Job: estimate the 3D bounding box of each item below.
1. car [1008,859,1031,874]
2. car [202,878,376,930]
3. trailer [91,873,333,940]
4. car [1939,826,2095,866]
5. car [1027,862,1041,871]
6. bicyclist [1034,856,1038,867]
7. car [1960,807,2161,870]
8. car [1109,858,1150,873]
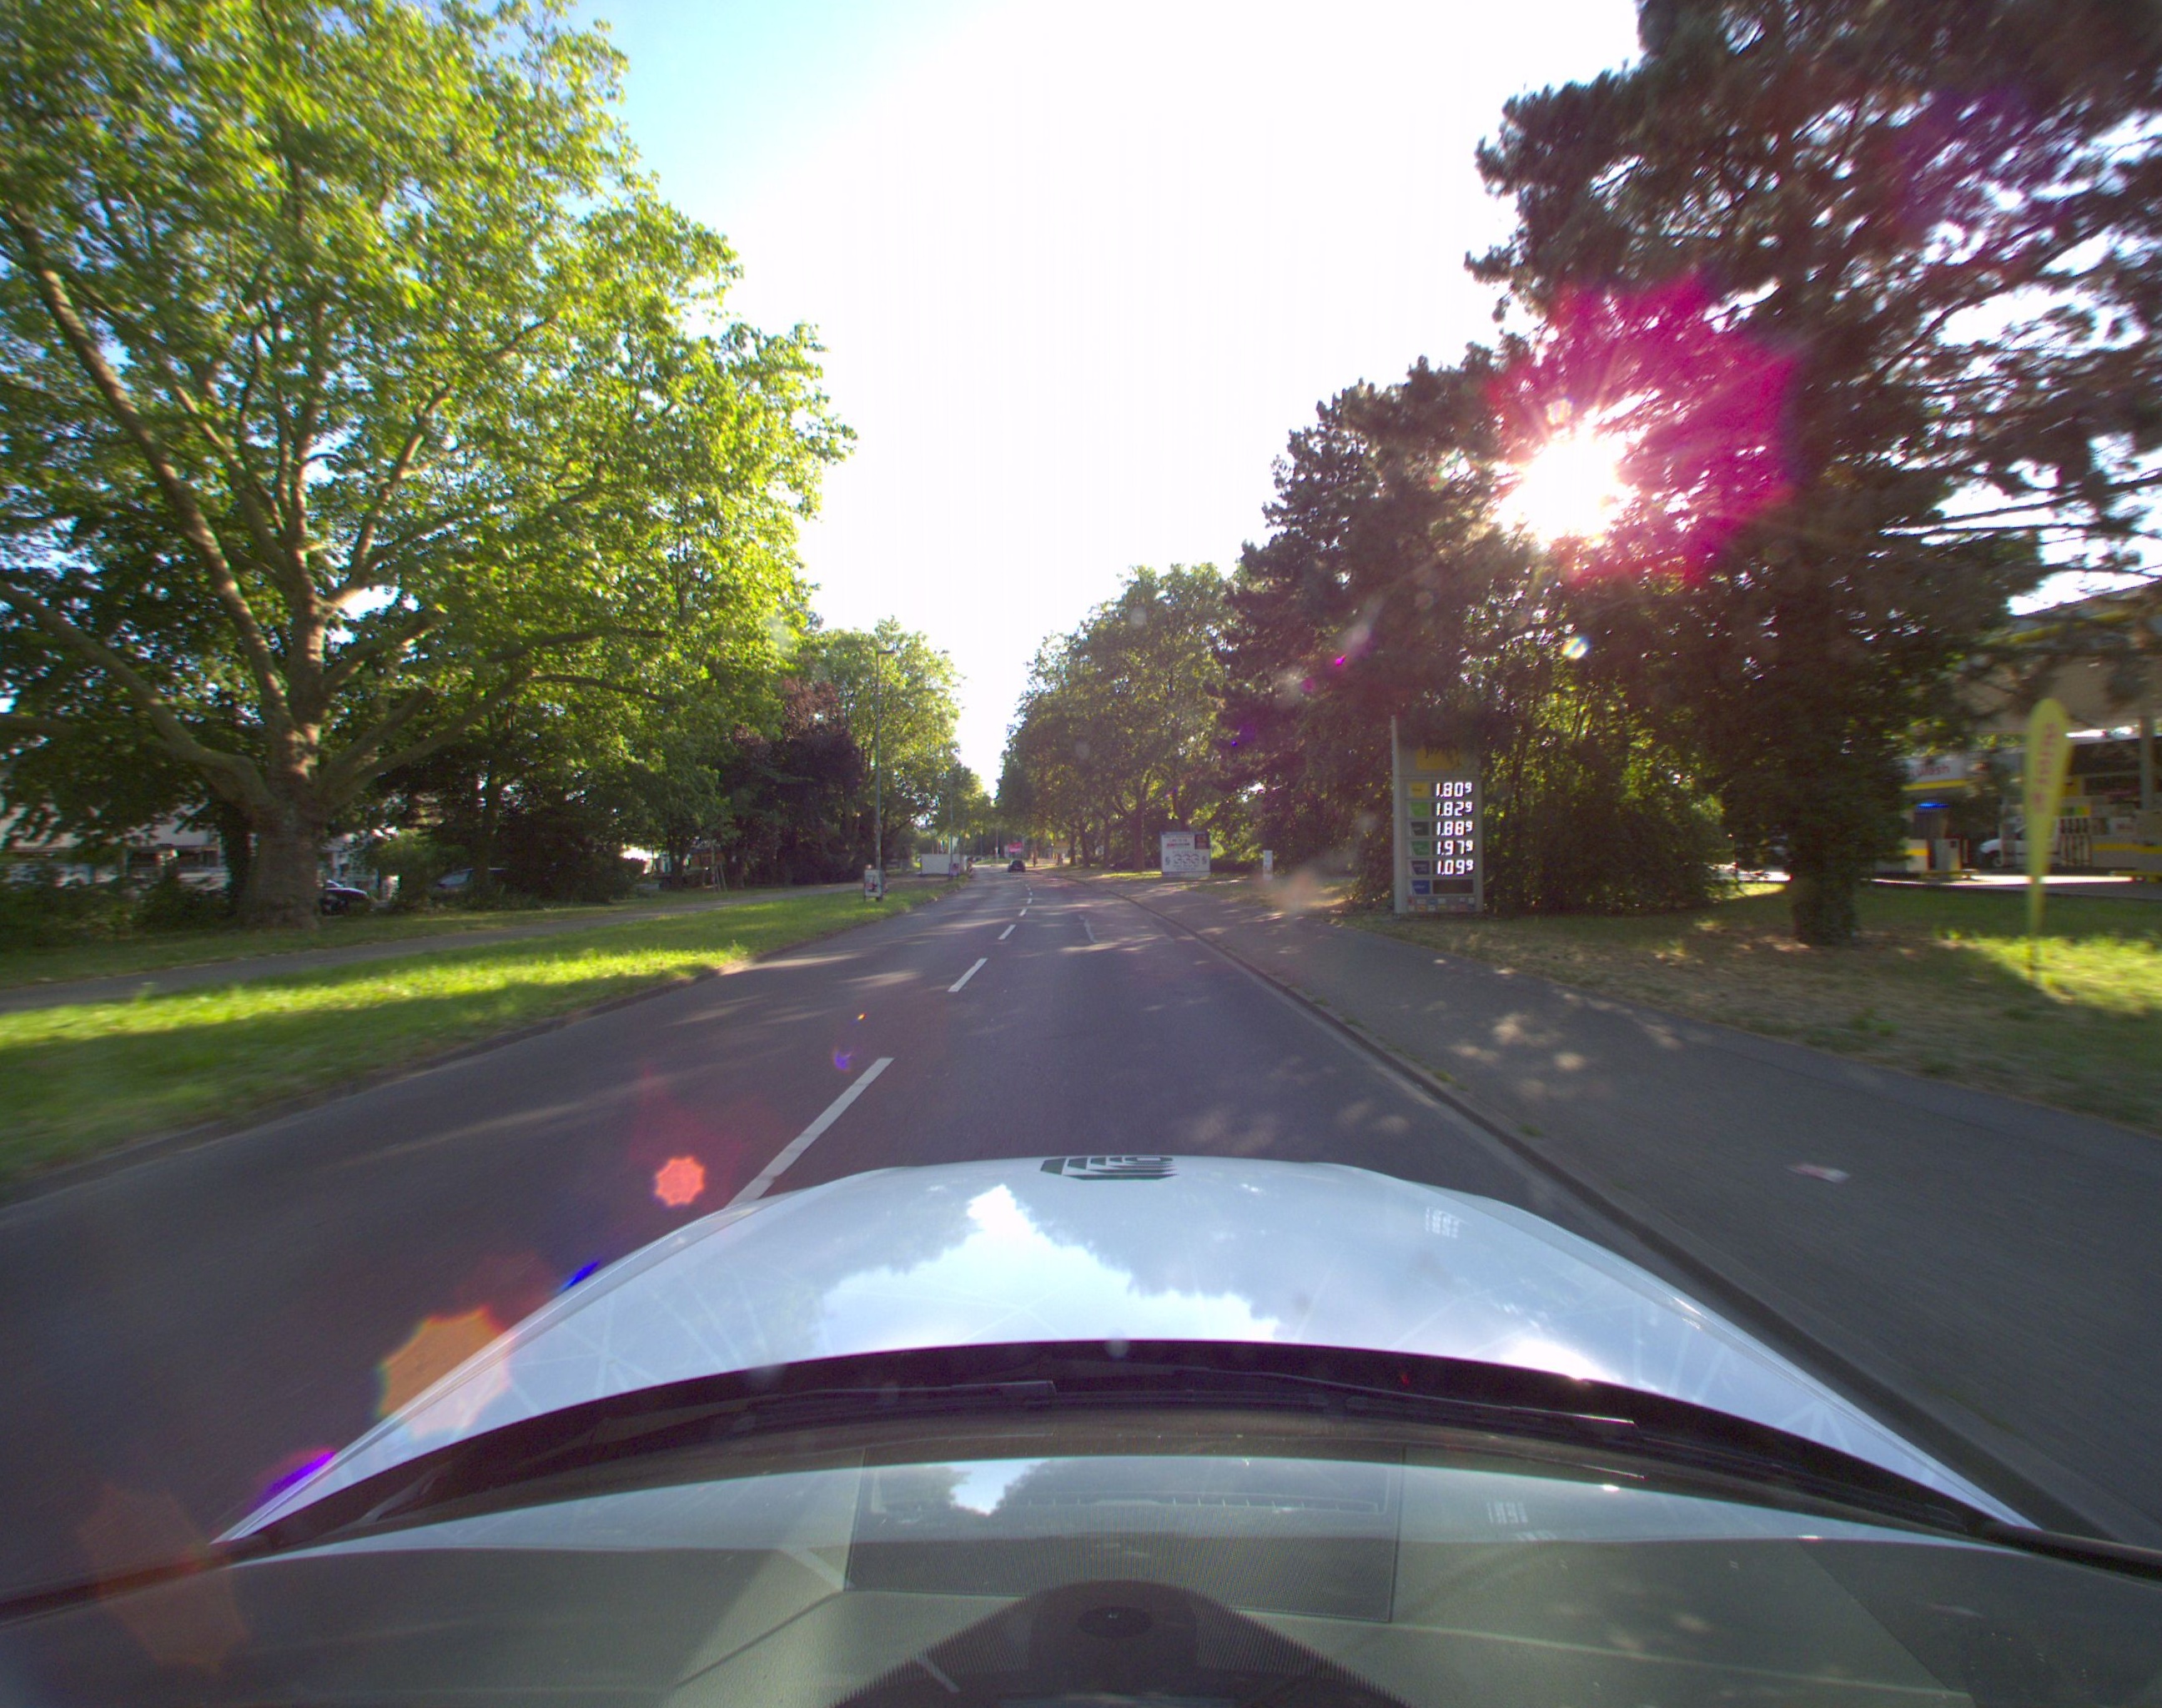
[{"bbox_3d":[-6.931,1.372,92.313,1.830,1.605,3.870,-2,-1,7],"label":"car"},{"bbox_3d":[-22.907,1.429,23.661,3.384,1.364,1.515,-1,-1,-7],"label":"car"},{"bbox_3d":[-22.459,1.323,21.201,3.978,1.556,1.998,-1,-1,-3],"label":"trailer"},{"bbox_3d":[36.021,-0.322,31.417,3.976,1.372,1.886,-1,1,-2],"label":"car"},{"bbox_3d":[-9.979,2.650,173.413,1.982,2.014,4.010,-1,0,9],"label":"car"},{"bbox_3d":[-7.187,1.251,129.474,0.650,1.705,0.869,0,-1,-7],"label":"bicyclist"},{"bbox_3d":[30.398,-0.431,25.100,1.807,1.728,4.397,-2,0,0],"label":"car"},{"bbox_3d":[4.898,1.175,82.513,3.980,1.443,1.757,-2,-1,-5],"label":"car"}]
